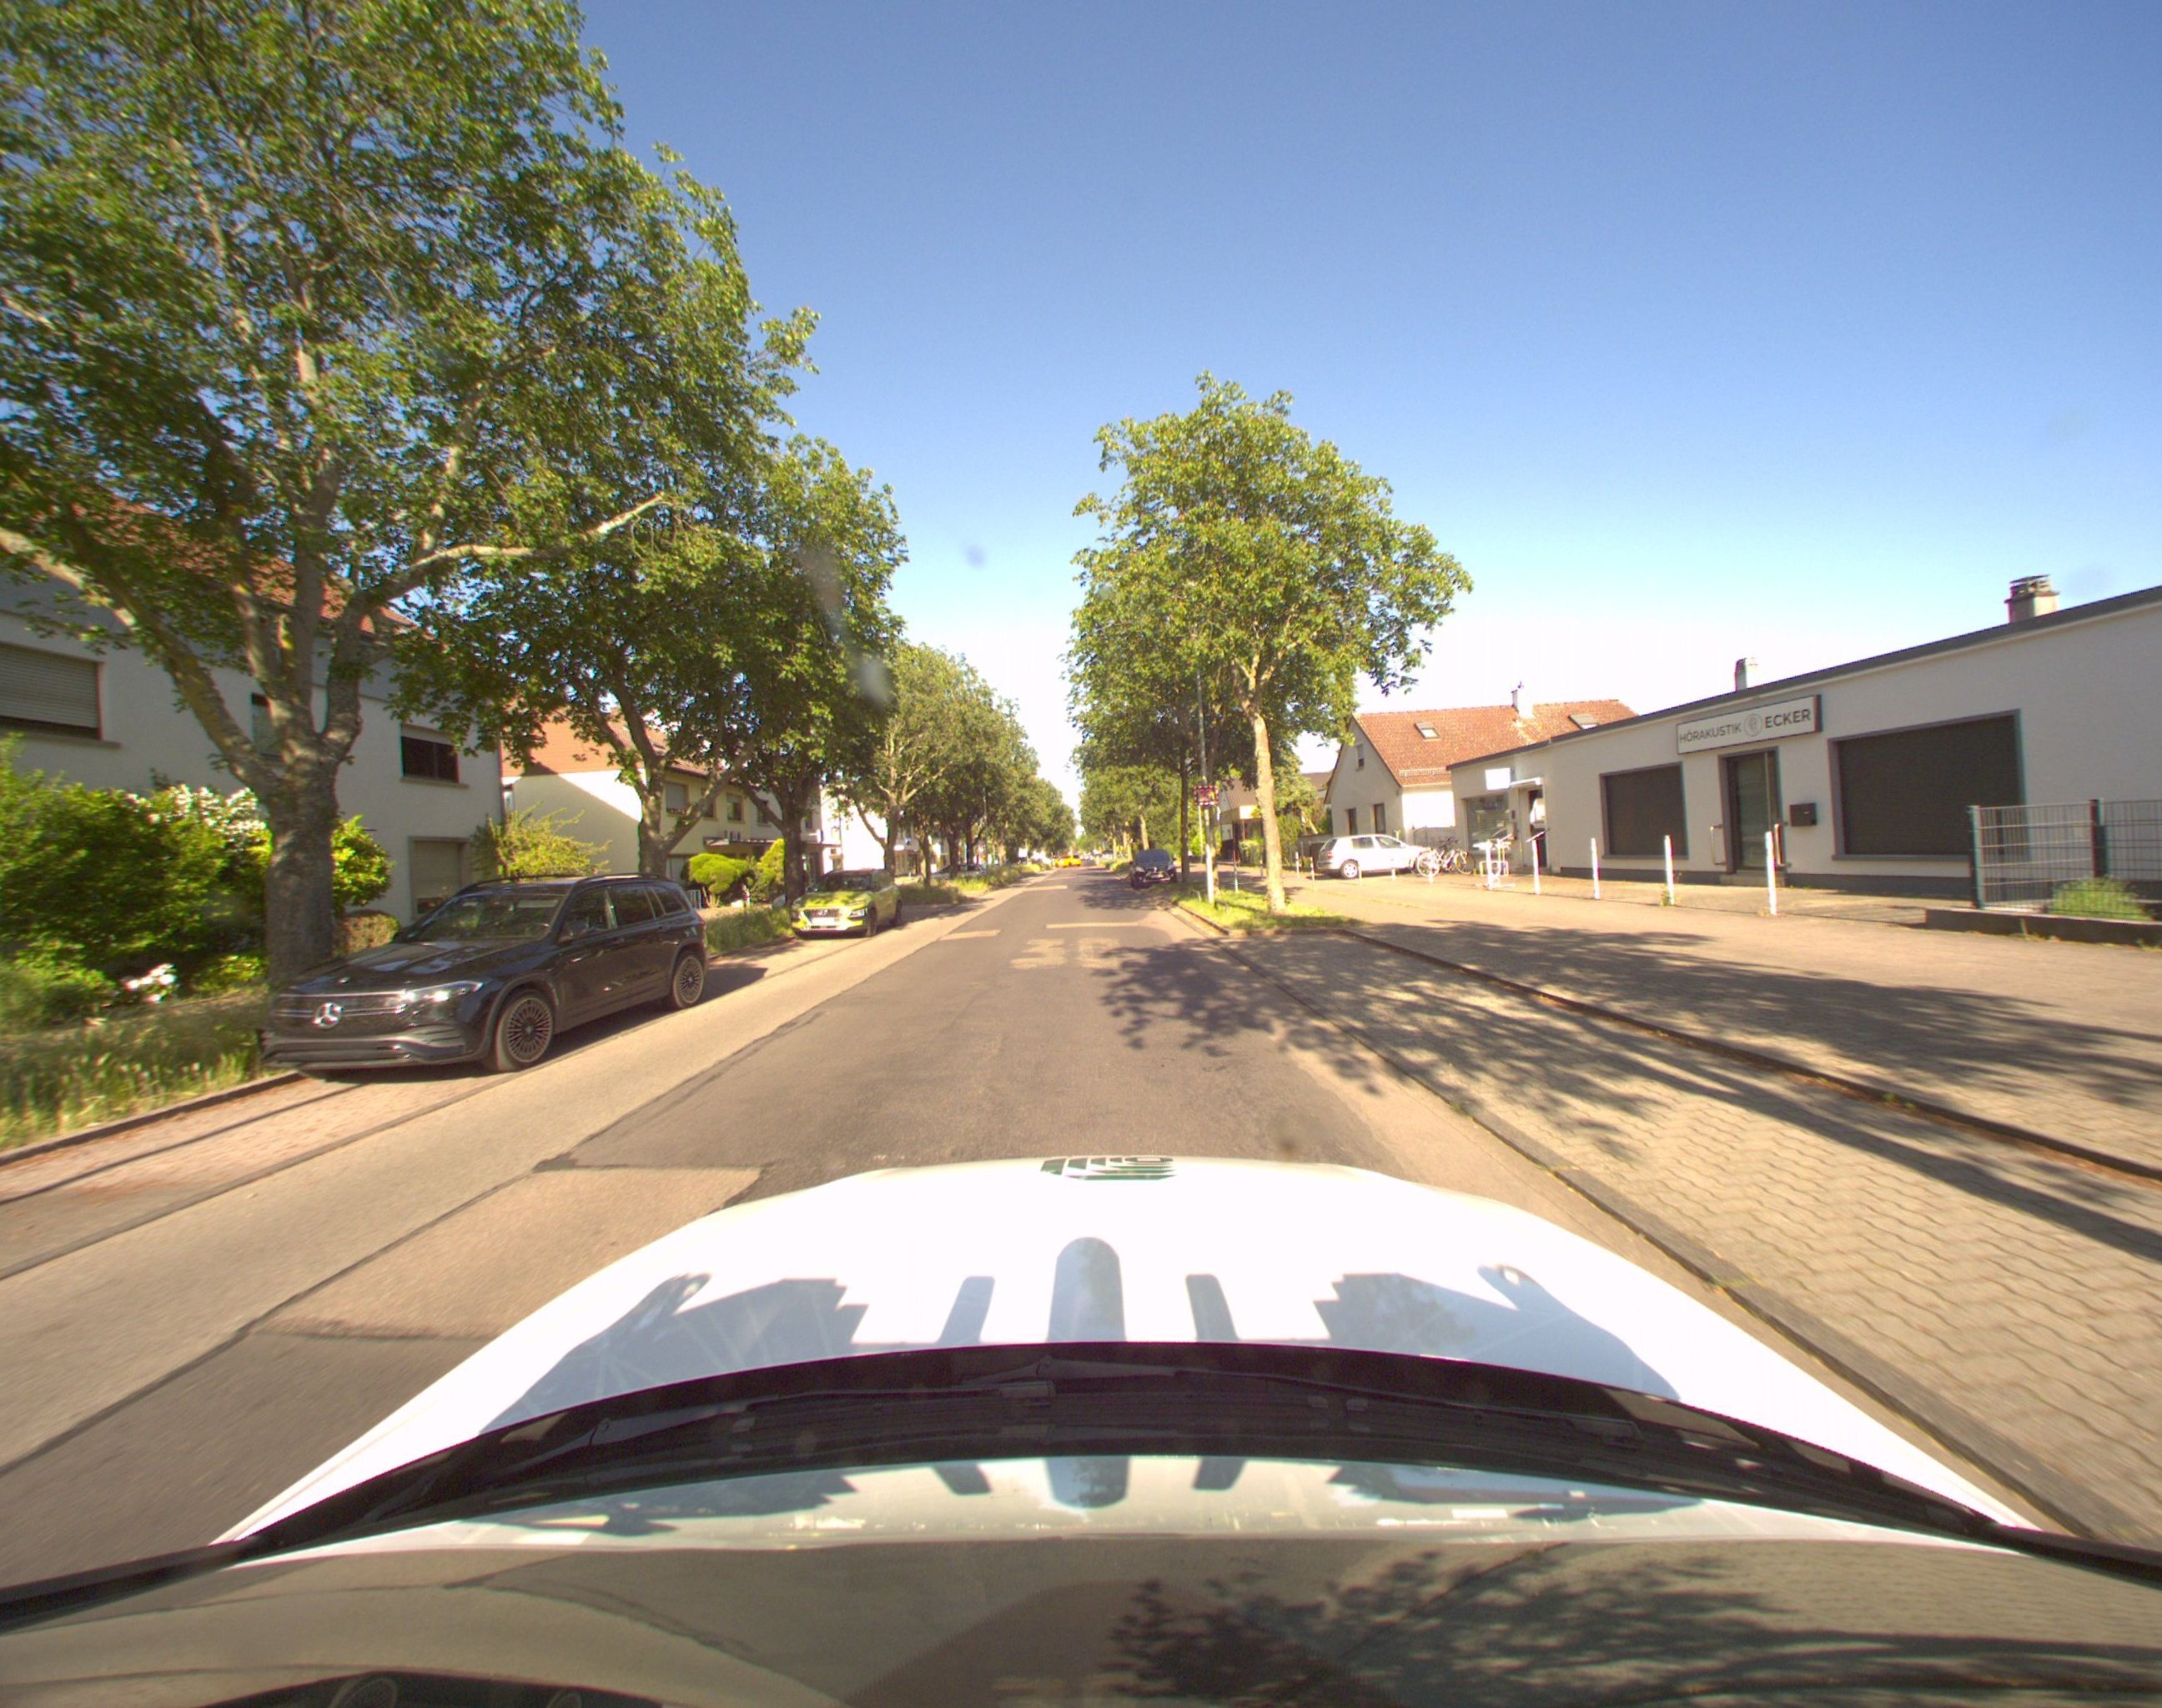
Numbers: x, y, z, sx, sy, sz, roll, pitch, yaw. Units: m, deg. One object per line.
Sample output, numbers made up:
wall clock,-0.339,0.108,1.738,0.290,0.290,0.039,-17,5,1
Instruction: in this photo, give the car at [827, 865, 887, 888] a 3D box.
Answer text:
car,-18.995,1.890,69.320,4.545,1.617,1.998,-2,1,-4

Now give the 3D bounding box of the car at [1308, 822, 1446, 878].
car,10.079,-0.157,27.921,3.976,1.488,1.901,-5,1,-1

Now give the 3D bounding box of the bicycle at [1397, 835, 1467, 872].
bicycle,11.122,-0.013,25.811,1.918,0.998,0.576,-5,1,-2

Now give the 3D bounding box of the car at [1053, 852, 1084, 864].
car,-1.629,0.585,107.690,3.839,1.479,1.905,-1,0,44

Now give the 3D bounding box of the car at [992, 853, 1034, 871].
car,-7.512,0.831,90.095,4.538,1.765,1.997,-2,1,-5

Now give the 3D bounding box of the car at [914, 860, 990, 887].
car,-8.293,1.222,52.630,4.540,1.511,1.841,-2,1,-1

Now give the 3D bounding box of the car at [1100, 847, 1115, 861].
car,3.493,-0.035,108.981,1.896,1.774,4.301,-2,0,1

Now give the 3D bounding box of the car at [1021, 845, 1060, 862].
car,-5.825,-0.047,118.065,5.483,2.247,2.515,-2,1,-2

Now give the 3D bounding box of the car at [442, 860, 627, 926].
car,-16.821,1.164,25.276,4.227,1.713,1.997,-2,1,-5

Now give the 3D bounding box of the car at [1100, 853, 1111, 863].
car,4.372,0.715,147.441,1.896,1.774,4.301,-2,0,1

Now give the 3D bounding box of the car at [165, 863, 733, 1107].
car,-5.691,0.996,8.420,1.946,1.727,4.876,-2,-1,1

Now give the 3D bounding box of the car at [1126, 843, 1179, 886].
car,3.121,0.452,36.285,1.847,1.625,4.469,-5,-1,0

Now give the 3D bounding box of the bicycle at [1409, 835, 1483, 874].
bicycle,11.125,0.010,24.825,1.953,0.998,0.576,-5,1,-2

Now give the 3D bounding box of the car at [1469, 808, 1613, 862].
car,16.225,-0.688,28.856,3.978,1.488,1.900,-5,1,-3

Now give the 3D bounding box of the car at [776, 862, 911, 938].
car,-5.695,1.047,20.145,1.932,1.609,4.384,-2,-1,1

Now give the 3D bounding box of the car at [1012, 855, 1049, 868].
car,-6.038,0.878,96.434,4.280,1.315,1.906,-2,1,-5
